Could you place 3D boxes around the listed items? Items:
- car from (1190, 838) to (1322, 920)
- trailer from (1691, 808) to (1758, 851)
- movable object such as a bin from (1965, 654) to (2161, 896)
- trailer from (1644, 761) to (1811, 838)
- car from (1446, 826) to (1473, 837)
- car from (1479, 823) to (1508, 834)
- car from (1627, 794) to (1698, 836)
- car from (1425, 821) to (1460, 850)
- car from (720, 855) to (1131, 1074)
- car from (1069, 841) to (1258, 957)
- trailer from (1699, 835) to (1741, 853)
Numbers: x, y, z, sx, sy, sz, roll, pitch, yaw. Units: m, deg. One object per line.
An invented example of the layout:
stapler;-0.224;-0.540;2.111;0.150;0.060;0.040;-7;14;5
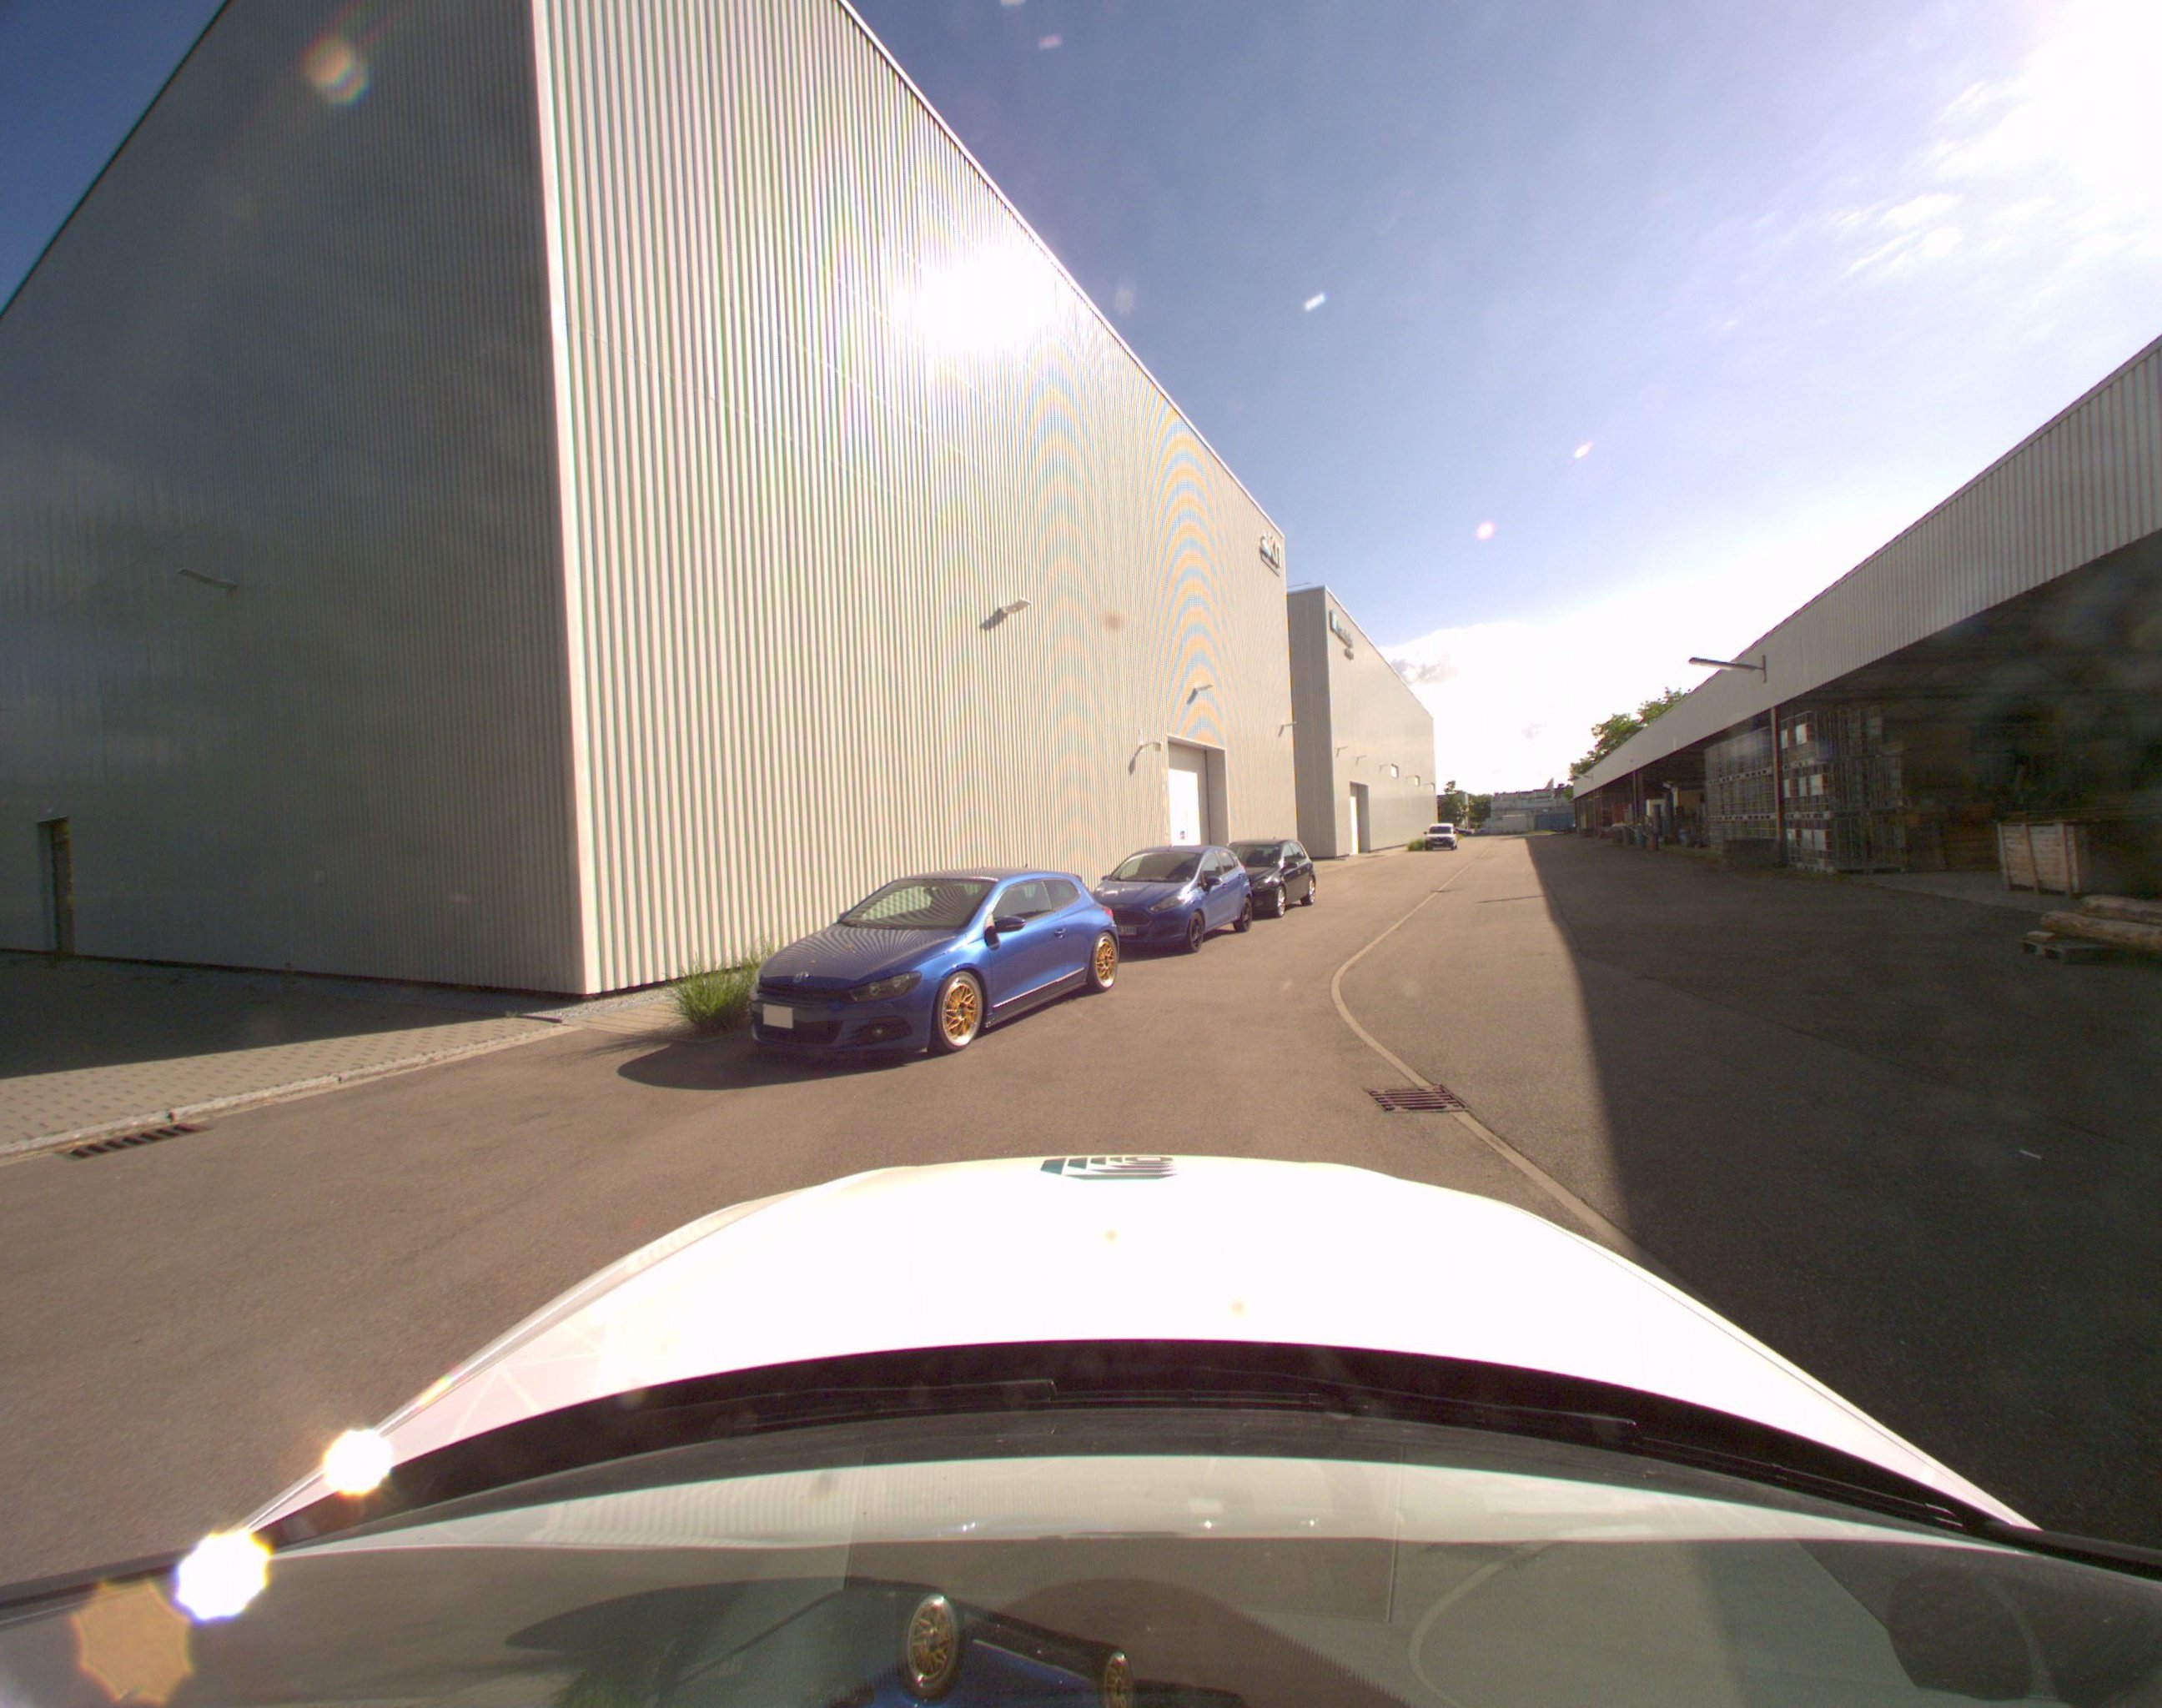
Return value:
car;3.750;0.412;16.991;1.635;1.446;3.902;1;2;29
trailer;23.850;-0.920;30.263;1.531;1.518;1.925;-1;3;24
movable object such as a bin;16.162;-1.166;9.804;6.869;2.905;2.703;-4;0;28
trailer;33.864;-2.765;43.020;6.328;3.370;2.842;-4;0;27
car;60.230;-3.595;129.581;3.848;1.461;1.633;-3;1;28
car;63.829;-3.955;126.163;3.847;1.461;1.633;-3;1;31
car;38.101;-2.528;53.487;3.471;2.441;2.013;-4;0;29
car;24.376;-1.278;54.859;1.890;1.793;4.024;-3;1;27
car;-1.116;0.767;7.687;1.653;1.350;3.978;-1;2;28
car;1.436;0.574;12.636;1.604;1.447;3.788;-1;1;27
trailer;21.741;-0.354;27.732;0.962;0.567;0.737;-1;3;24
